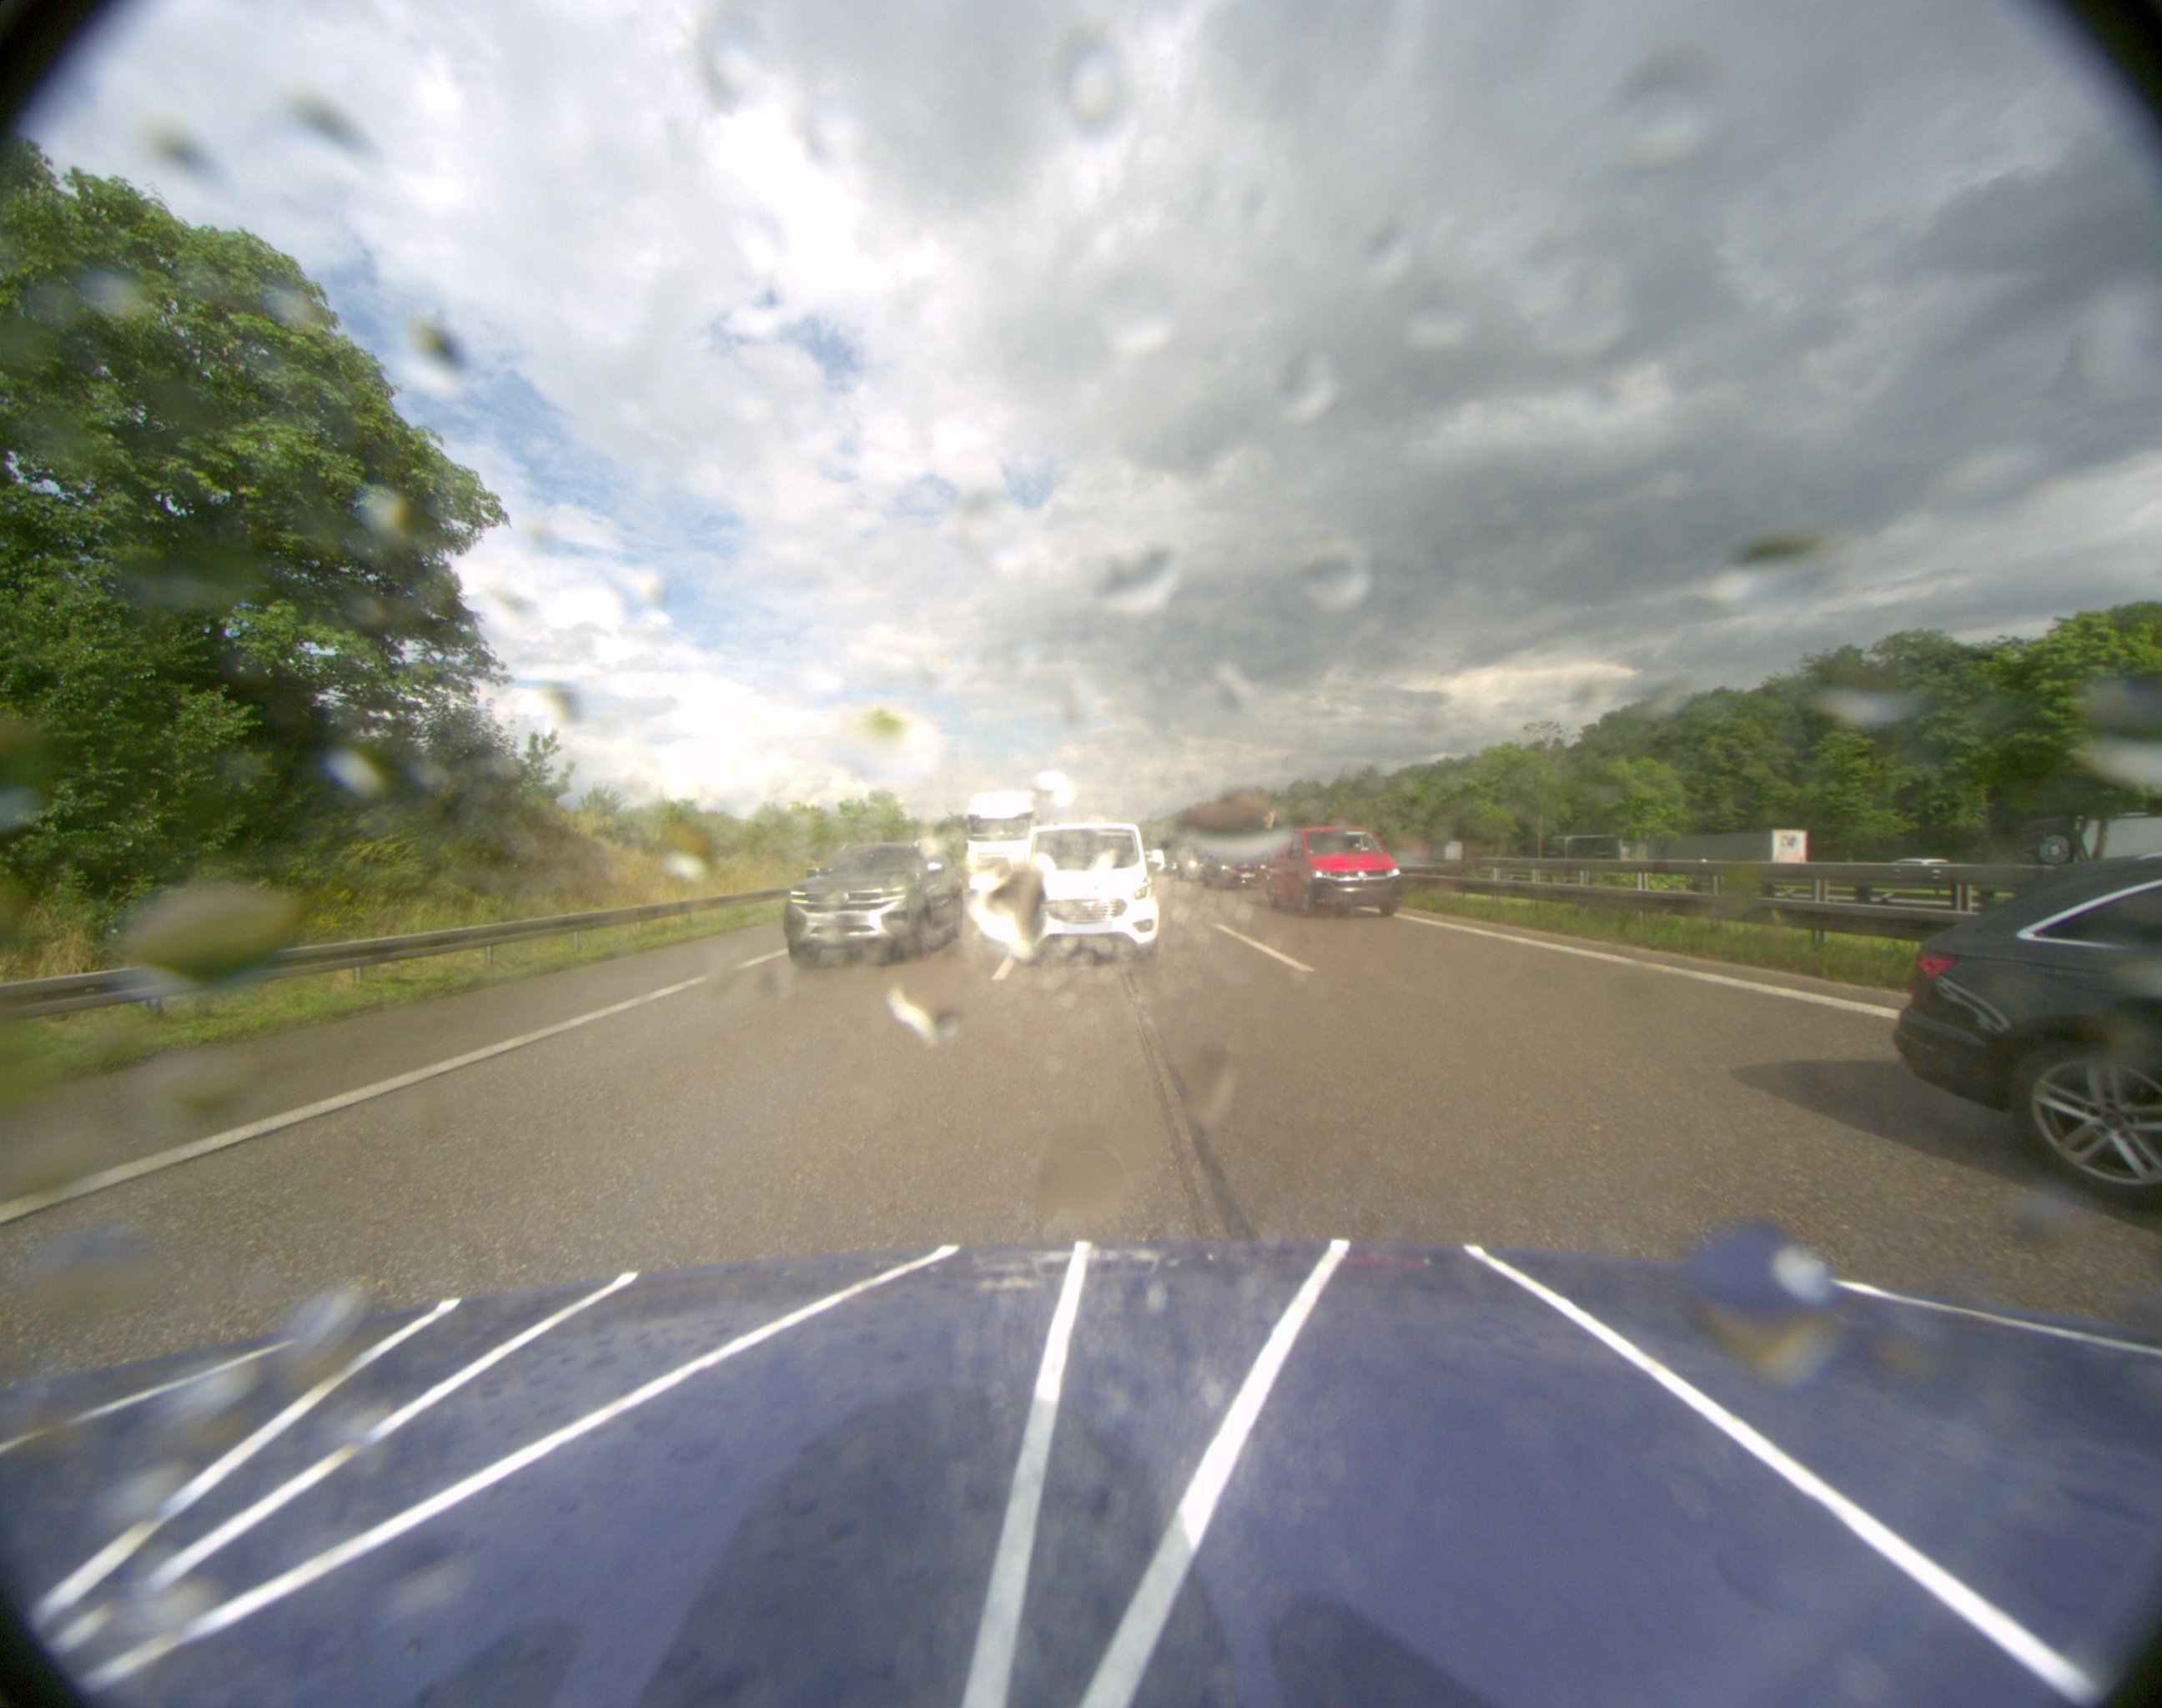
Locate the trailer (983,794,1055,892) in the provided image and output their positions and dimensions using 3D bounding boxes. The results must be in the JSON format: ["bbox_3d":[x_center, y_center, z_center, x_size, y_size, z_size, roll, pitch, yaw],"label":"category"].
[{"bbox_3d":[-2.850,-0.526,38.607,2.451,4.095,12.214,-2,1,0],"label":"trailer"}]

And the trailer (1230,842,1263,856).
[{"bbox_3d":[42.157,-1.323,194.192,2.707,3.492,13.404,0,0,-14],"label":"trailer"}]

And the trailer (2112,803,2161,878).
[{"bbox_3d":[52.060,-0.609,32.208,2.187,3.579,11.725,0,0,8],"label":"trailer"}]

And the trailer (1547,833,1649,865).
[{"bbox_3d":[56.530,-0.554,83.721,2.611,3.253,12.647,0,0,0],"label":"trailer"}]

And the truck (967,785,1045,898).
[{"bbox_3d":[-2.884,-0.457,30.765,2.460,4.080,5.332,-2,0,0],"label":"truck"}]

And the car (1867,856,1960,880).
[{"bbox_3d":[54.701,0.864,50.032,1.899,1.494,4.001,0,0,4],"label":"car"}]

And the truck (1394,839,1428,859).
[{"bbox_3d":[54.876,-0.794,126.486,3.182,3.237,5.389,1,1,-2],"label":"truck"}]

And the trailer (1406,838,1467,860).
[{"bbox_3d":[55.213,-0.738,118.625,3.193,3.253,12.644,0,0,-2],"label":"trailer"}]

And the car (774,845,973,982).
[{"bbox_3d":[-3.135,0.776,12.759,1.831,1.793,5.305,-1,0,0],"label":"car"}]

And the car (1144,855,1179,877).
[{"bbox_3d":[4.928,0.701,46.952,1.675,1.228,4.000,-2,0,0],"label":"car"}]

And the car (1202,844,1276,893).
[{"bbox_3d":[5.908,0.504,28.884,1.895,1.660,4.294,-2,1,0],"label":"car"}]

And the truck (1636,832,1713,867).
[{"bbox_3d":[56.343,-0.445,72.308,3.049,3.165,5.597,0,0,2],"label":"truck"}]

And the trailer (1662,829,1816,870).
[{"bbox_3d":[56.013,-0.405,65.375,3.026,3.174,12.175,0,0,2],"label":"trailer"}]

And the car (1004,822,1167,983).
[{"bbox_3d":[0.065,0.606,12.190,1.985,1.973,5.168,-2,0,0],"label":"car"}]

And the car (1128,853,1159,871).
[{"bbox_3d":[4.731,0.591,58.030,1.888,1.228,4.506,-2,0,0],"label":"car"}]

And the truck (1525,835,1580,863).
[{"bbox_3d":[56.540,-0.619,91.277,2.582,3.232,6.535,0,1,0],"label":"truck"}]

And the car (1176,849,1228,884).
[{"bbox_3d":[5.798,0.555,36.840,1.895,1.558,4.053,-2,1,0],"label":"car"}]

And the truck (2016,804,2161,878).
[{"bbox_3d":[53.071,-0.645,39.619,2.167,3.599,5.581,0,1,8],"label":"truck"}]

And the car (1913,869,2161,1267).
[{"bbox_3d":[4.793,0.798,1.359,1.723,1.403,4.467,-2,0,0],"label":"car"}]

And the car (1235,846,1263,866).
[{"bbox_3d":[18.202,0.214,82.577,1.998,2.002,4.730,-2,1,0],"label":"car"}]

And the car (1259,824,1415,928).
[{"bbox_3d":[5.577,0.428,17.275,1.895,1.973,4.750,-2,0,0],"label":"car"}]

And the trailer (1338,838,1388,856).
[{"bbox_3d":[52.949,-1.233,143.190,3.086,3.253,13.400,0,0,-6],"label":"trailer"}]
